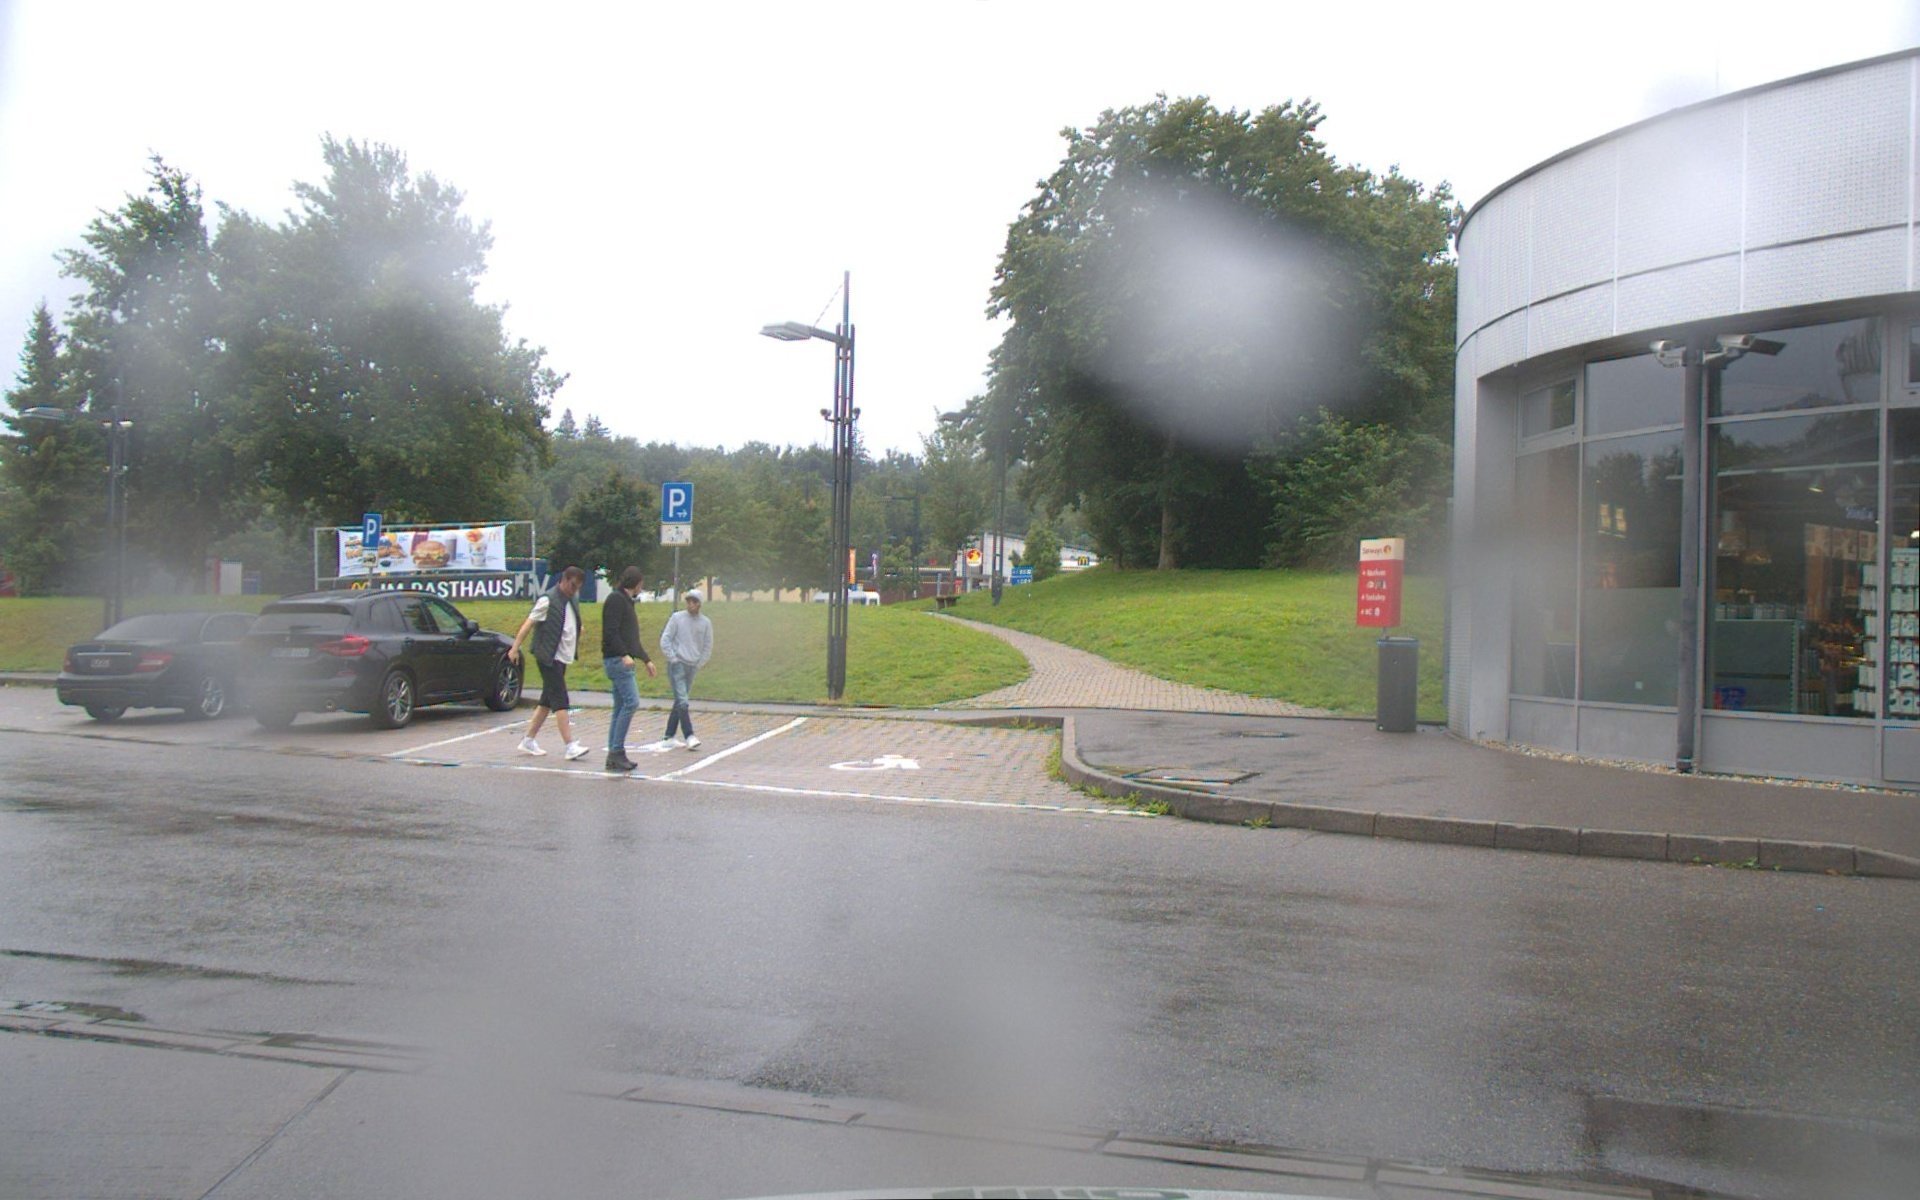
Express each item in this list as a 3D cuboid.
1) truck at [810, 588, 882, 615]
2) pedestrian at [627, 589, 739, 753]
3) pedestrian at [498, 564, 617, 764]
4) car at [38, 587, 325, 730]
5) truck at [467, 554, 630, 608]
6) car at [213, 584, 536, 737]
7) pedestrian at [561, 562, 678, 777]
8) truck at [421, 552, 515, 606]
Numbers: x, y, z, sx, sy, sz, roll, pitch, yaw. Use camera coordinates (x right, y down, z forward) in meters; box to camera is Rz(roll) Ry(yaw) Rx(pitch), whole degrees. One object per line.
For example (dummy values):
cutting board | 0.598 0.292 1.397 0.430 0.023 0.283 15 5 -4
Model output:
truck | -9.235 0.143 133.644 5.298 2.049 2.366 1 0 24
pedestrian | -2.899 0.726 17.347 0.930 1.660 0.704 1 -1 12
pedestrian | -3.979 0.617 16.394 0.931 1.920 0.704 1 -1 6
car | -10.574 0.717 22.867 1.976 1.741 4.342 -1 1 -2
truck | -24.931 -1.087 101.246 2.142 2.971 13.092 1 0 23
car | -7.366 0.691 21.349 1.973 1.741 4.347 -1 1 11
pedestrian | -3.135 0.628 15.289 0.872 1.920 0.704 1 -1 3
truck | -27.982 -1.170 94.231 2.142 2.971 5.384 1 0 24
